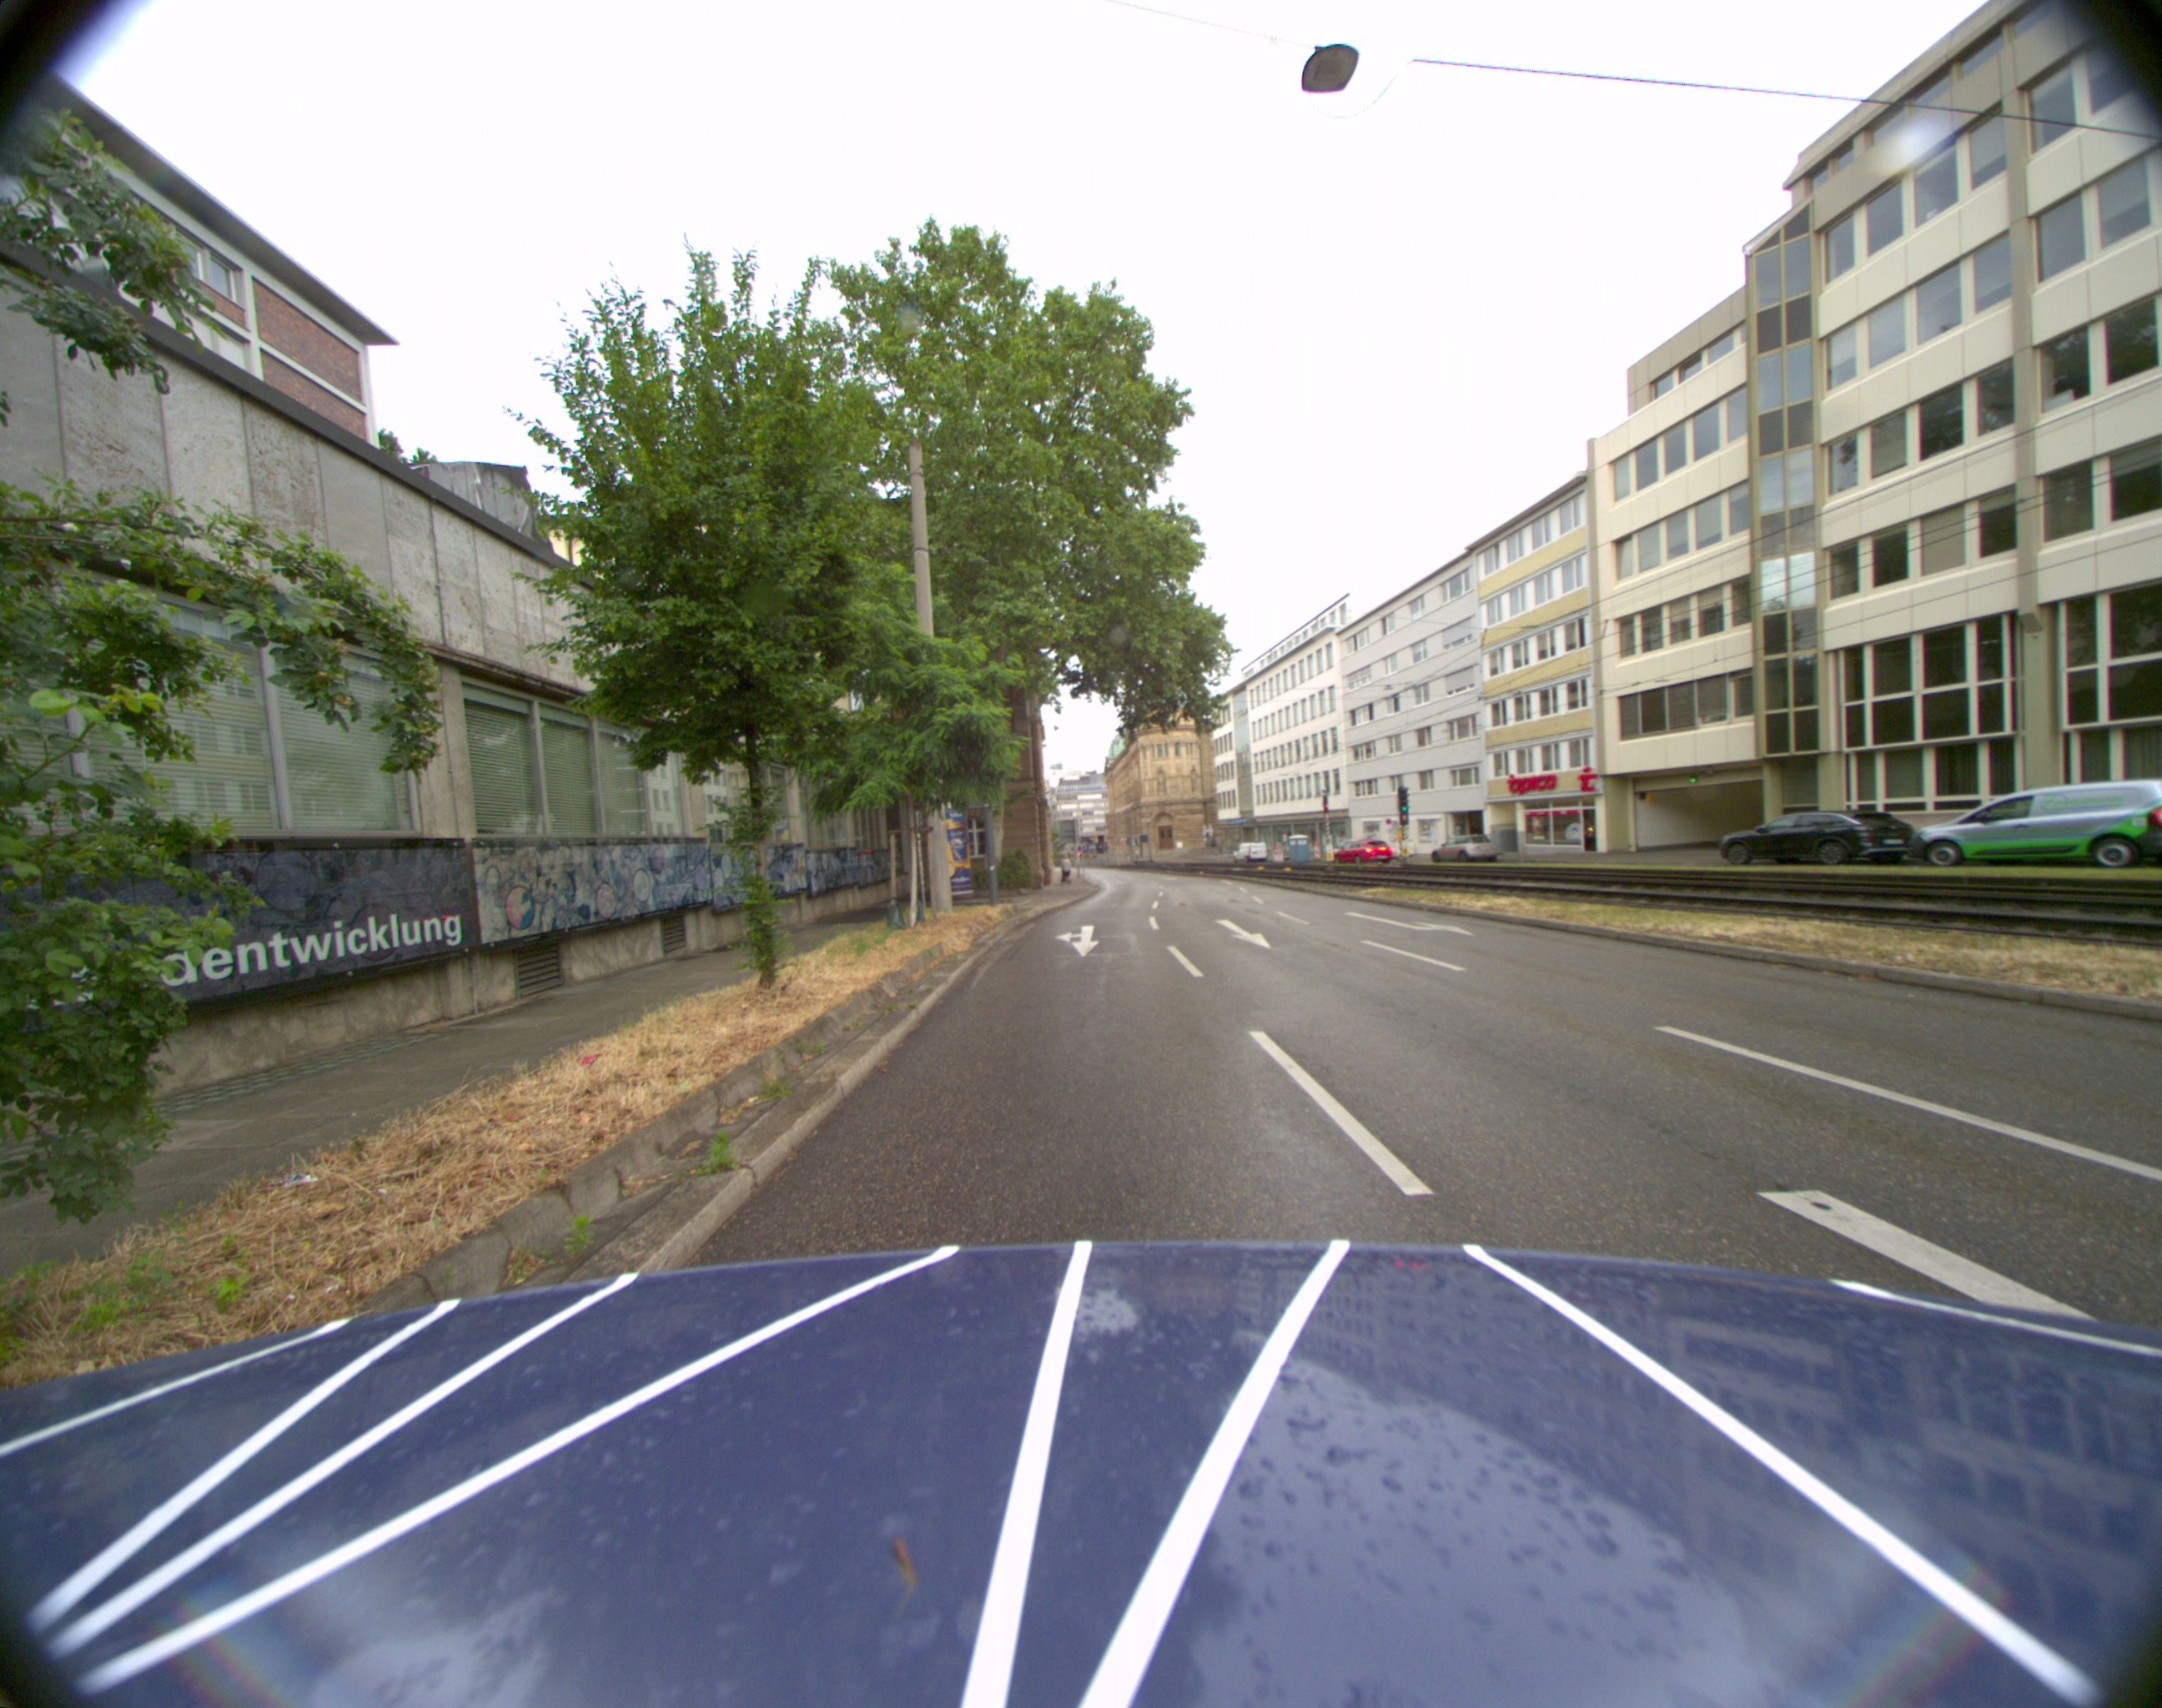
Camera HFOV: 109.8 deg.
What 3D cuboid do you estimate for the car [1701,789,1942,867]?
[{"bbox_3d":[21.085,-0.716,21.985,1.999,1.840,4.691,-6,2,-7],"label":"car"}]

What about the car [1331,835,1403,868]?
[{"bbox_3d":[16.180,-0.180,43.248,1.986,1.631,4.413,-5,1,-6],"label":"car"}]

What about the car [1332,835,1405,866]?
[{"bbox_3d":[16.235,-0.202,43.100,1.999,1.479,4.323,-6,2,-7],"label":"car"}]

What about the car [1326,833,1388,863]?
[{"bbox_3d":[18.319,-0.366,50.627,1.999,1.664,4.693,-6,0,-4],"label":"car"}]

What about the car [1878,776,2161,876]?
[{"bbox_3d":[21.504,-0.626,17.022,1.999,1.840,4.691,-6,2,-7],"label":"car"}]

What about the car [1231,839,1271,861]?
[{"bbox_3d":[16.372,-0.444,73.357,1.999,1.832,5.127,-6,2,-7],"label":"car"}]

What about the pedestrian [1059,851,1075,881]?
[{"bbox_3d":[-0.850,0.698,45.354,0.719,1.732,1.020,-1,1,11],"label":"pedestrian"}]

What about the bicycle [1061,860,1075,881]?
[{"bbox_3d":[-0.797,1.019,46.391,0.620,1.213,0.911,-2,1,12],"label":"bicycle"}]

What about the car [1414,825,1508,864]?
[{"bbox_3d":[19.444,-0.499,39.159,1.999,1.664,4.691,-6,2,-7],"label":"car"}]
